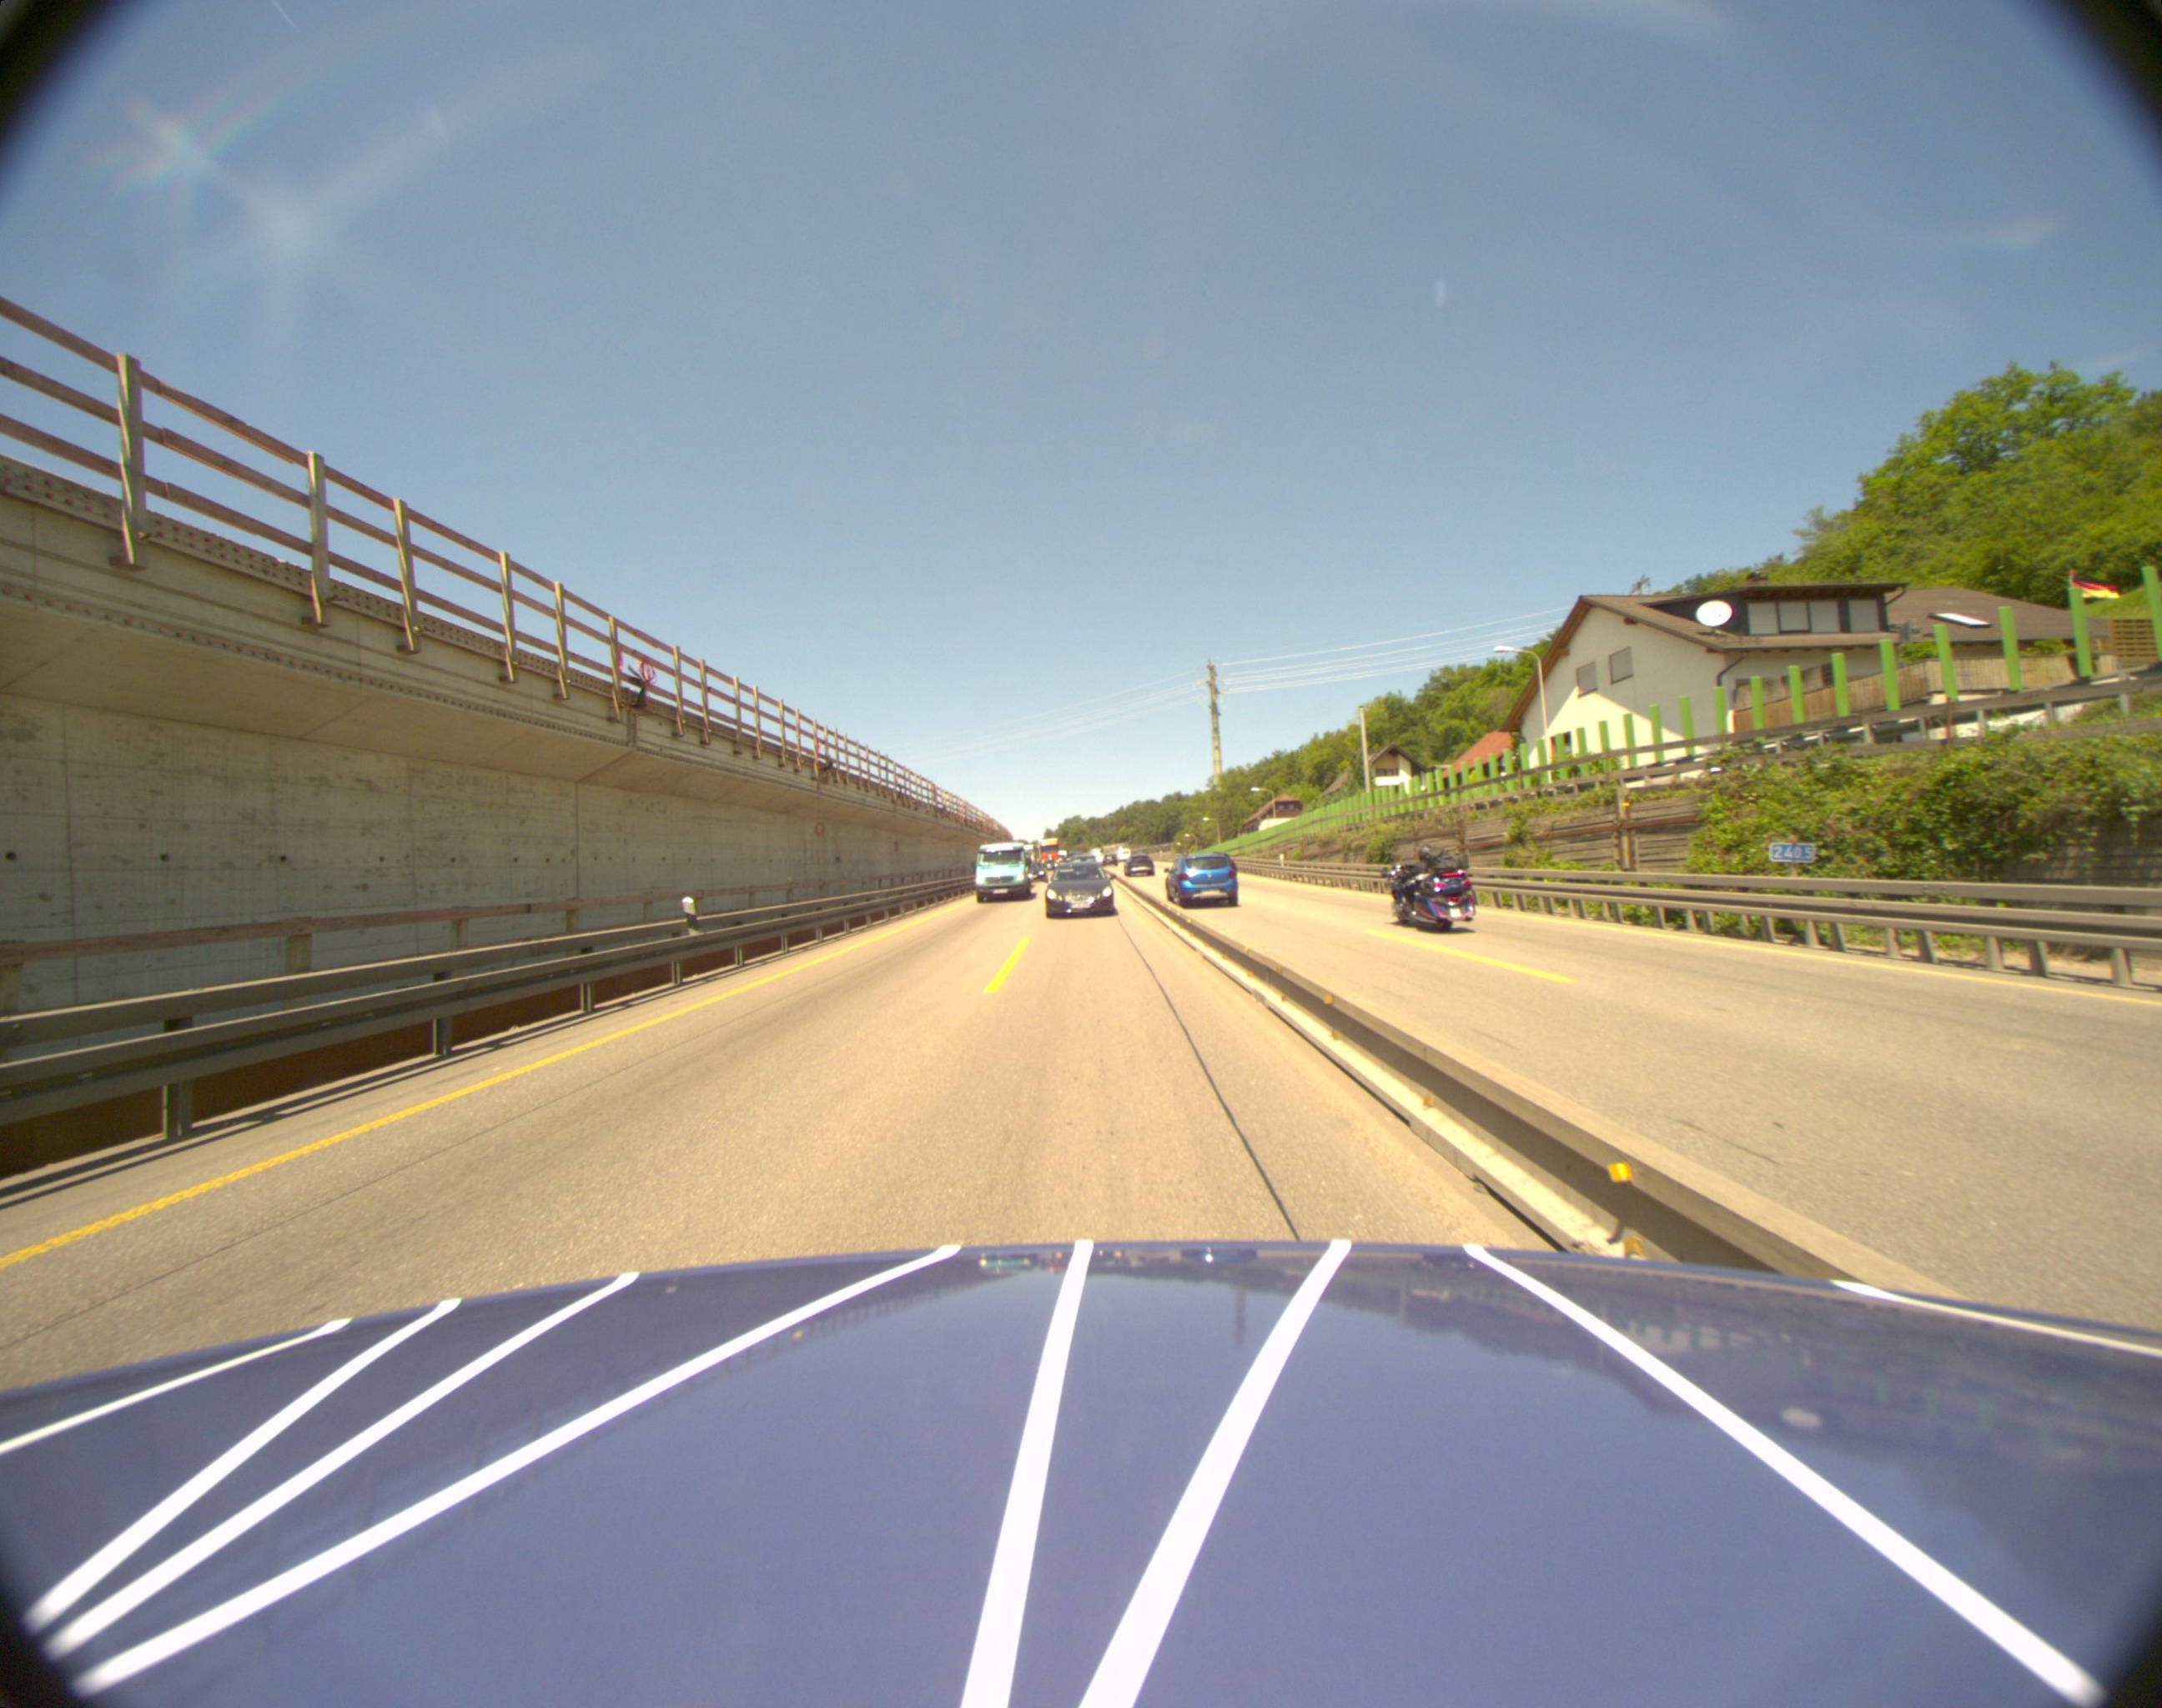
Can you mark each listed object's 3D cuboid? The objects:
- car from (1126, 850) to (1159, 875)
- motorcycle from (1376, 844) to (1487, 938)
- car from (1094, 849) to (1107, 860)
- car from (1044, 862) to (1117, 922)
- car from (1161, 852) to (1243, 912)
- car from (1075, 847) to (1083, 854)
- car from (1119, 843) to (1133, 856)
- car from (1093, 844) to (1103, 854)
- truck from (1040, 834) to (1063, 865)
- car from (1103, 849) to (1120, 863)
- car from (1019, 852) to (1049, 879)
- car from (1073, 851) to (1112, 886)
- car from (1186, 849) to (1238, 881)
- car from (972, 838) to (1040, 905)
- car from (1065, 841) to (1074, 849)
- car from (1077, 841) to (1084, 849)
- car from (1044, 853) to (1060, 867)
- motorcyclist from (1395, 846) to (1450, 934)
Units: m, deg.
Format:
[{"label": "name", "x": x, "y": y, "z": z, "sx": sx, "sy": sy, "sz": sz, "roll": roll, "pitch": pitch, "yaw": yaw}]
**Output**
[{"label": "car", "x": 4.075, "y": 0.527, "z": 51.027, "sx": 1.847, "sy": 1.521, "sz": 4.293, "roll": -2, "pitch": 1, "yaw": 0}, {"label": "motorcycle", "x": 6.373, "y": 0.637, "z": 14.005, "sx": 0.792, "sy": 1.542, "sz": 2.621, "roll": -3, "pitch": 0, "yaw": 1}, {"label": "car", "x": 2.831, "y": 0.057, "z": 110.387, "sx": 1.737, "sy": 1.429, "sz": 4.257, "roll": -4, "pitch": 1, "yaw": 0}, {"label": "car", "x": -0.101, "y": 0.986, "z": 21.491, "sx": 1.793, "sy": 1.440, "sz": 4.296, "roll": -2, "pitch": 0, "yaw": -2}, {"label": "car", "x": 3.535, "y": 0.776, "z": 22.914, "sx": 1.768, "sy": 1.601, "sz": 3.891, "roll": -2, "pitch": 0, "yaw": -1}, {"label": "car", "x": -0.662, "y": -0.912, "z": 211.988, "sx": 1.999, "sy": 1.816, "sz": 4.507, "roll": -1, "pitch": 0, "yaw": -2}, {"label": "car", "x": 6.421, "y": -0.639, "z": 108.383, "sx": 1.600, "sy": 1.823, "sz": 4.752, "roll": -2, "pitch": 1, "yaw": 0}, {"label": "car", "x": 3.452, "y": -1.026, "z": 157.423, "sx": 1.829, "sy": 1.914, "sz": 5.244, "roll": -4, "pitch": 0, "yaw": 3}, {"label": "truck", "x": -4.185, "y": -0.638, "z": 108.111, "sx": 2.651, "sy": 3.978, "sz": 11.192, "roll": -6, "pitch": 1, "yaw": -2}, {"label": "car", "x": 3.487, "y": 0.223, "z": 87.551, "sx": 1.610, "sy": 1.438, "sz": 4.668, "roll": -3, "pitch": 1, "yaw": -1}, {"label": "car", "x": -3.321, "y": 0.818, "z": 54.300, "sx": 1.860, "sy": 1.650, "sz": 3.999, "roll": -6, "pitch": 1, "yaw": -1}, {"label": "car", "x": 0.605, "y": 0.786, "z": 42.299, "sx": 1.860, "sy": 1.650, "sz": 3.999, "roll": -6, "pitch": 1, "yaw": -1}, {"label": "car", "x": 6.993, "y": 0.532, "z": 40.951, "sx": 1.818, "sy": 1.440, "sz": 5.006, "roll": -4, "pitch": 1, "yaw": 0}, {"label": "car", "x": -3.012, "y": 0.635, "z": 32.054, "sx": 1.968, "sy": 2.367, "sz": 7.209, "roll": -4, "pitch": 0, "yaw": 0}, {"label": "car", "x": -2.876, "y": -2.323, "z": 193.390, "sx": 2.163, "sy": 1.895, "sz": 5.325, "roll": -4, "pitch": 1, "yaw": 0}, {"label": "car", "x": -0.130, "y": -2.515, "z": 210.739, "sx": 1.998, "sy": 2.002, "sz": 4.000, "roll": -3, "pitch": 0, "yaw": 0}, {"label": "car", "x": -3.539, "y": 0.697, "z": 92.076, "sx": 1.674, "sy": 1.499, "sz": 3.647, "roll": -5, "pitch": 1, "yaw": 0}, {"label": "motorcyclist", "x": 6.337, "y": 0.642, "z": 14.144, "sx": 0.667, "sy": 1.576, "sz": 0.736, "roll": -2, "pitch": 1, "yaw": 1}]
